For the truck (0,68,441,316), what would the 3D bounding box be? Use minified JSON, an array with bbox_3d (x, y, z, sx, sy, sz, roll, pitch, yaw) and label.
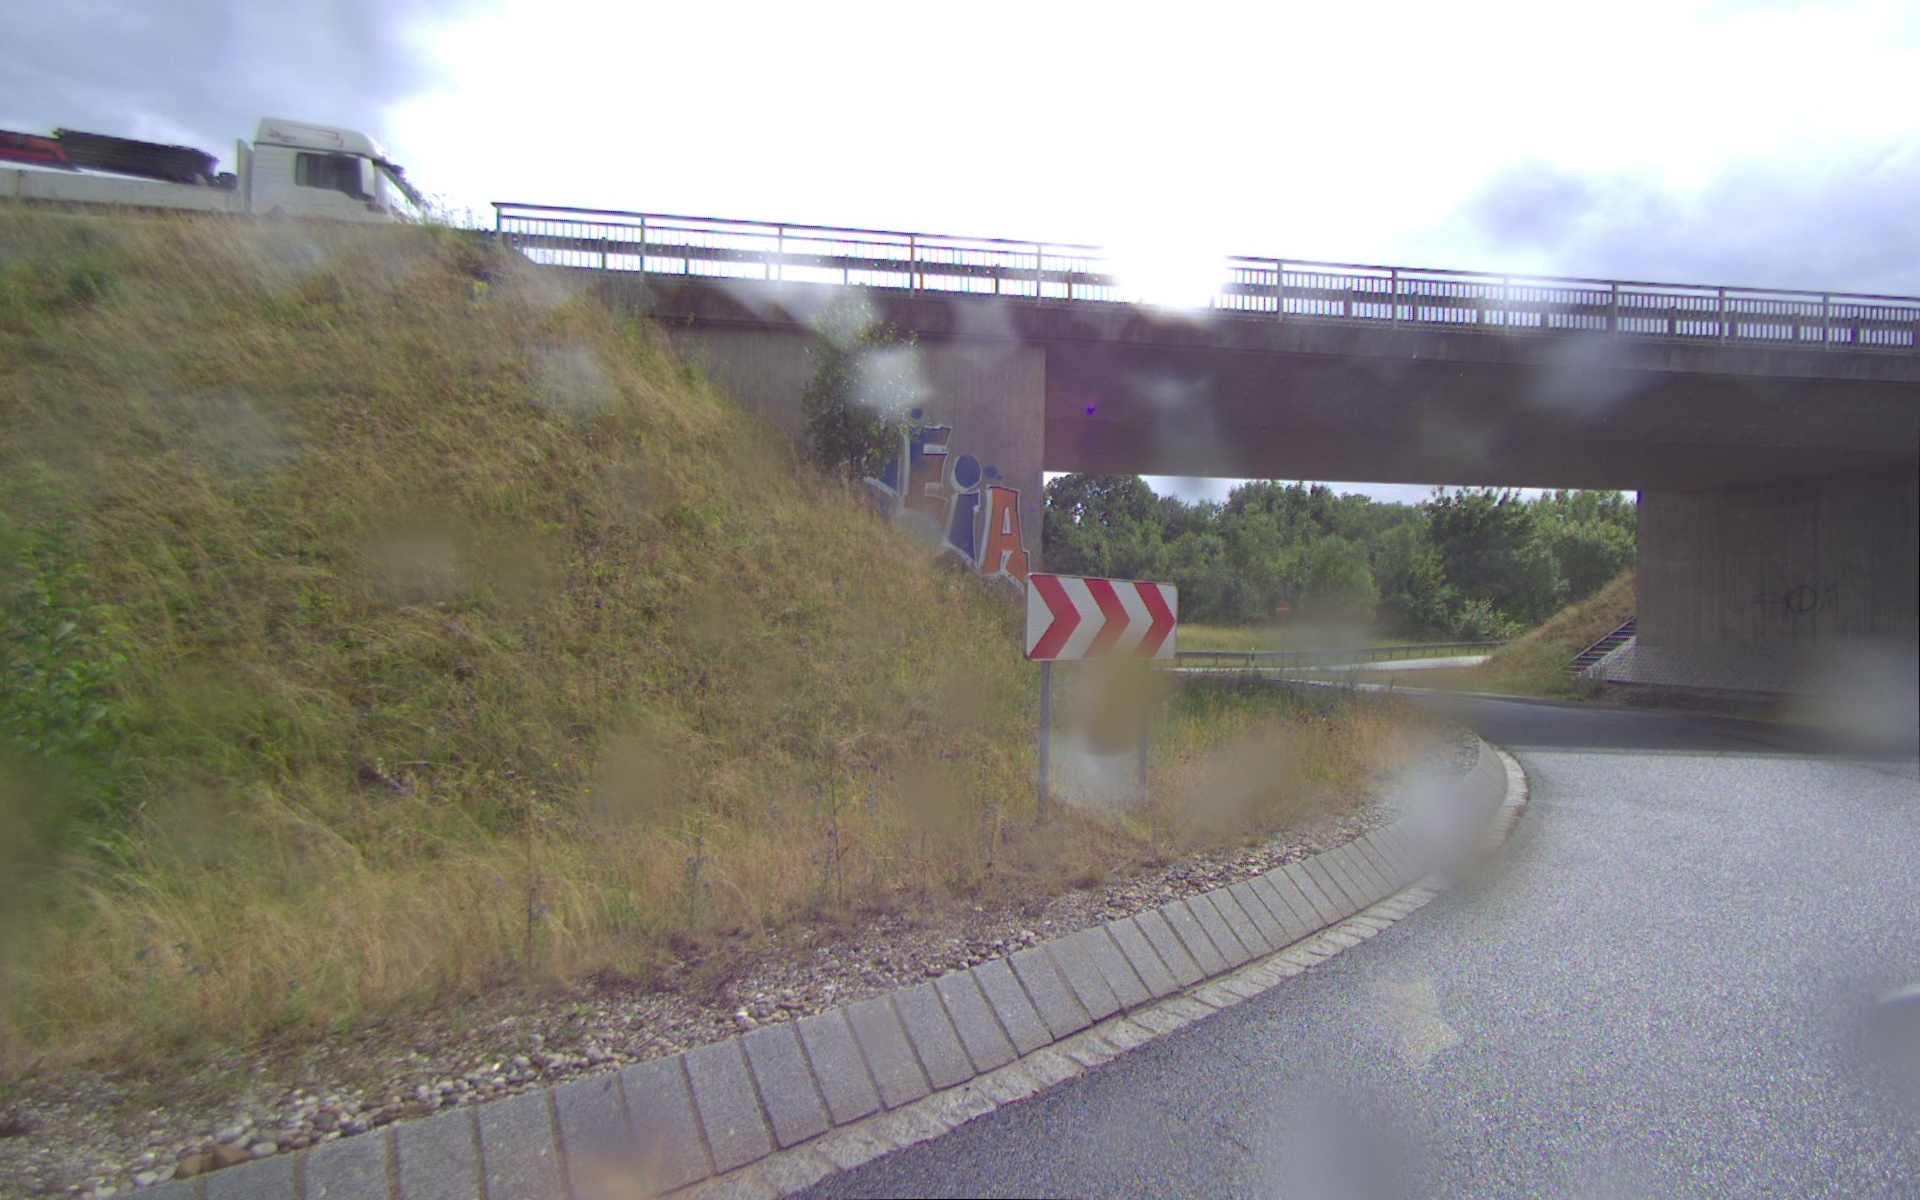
[{"bbox_3d":[-15.224,-7.187,17.581,10.633,2.912,2.203,2,0,-11],"label":"truck"}]
